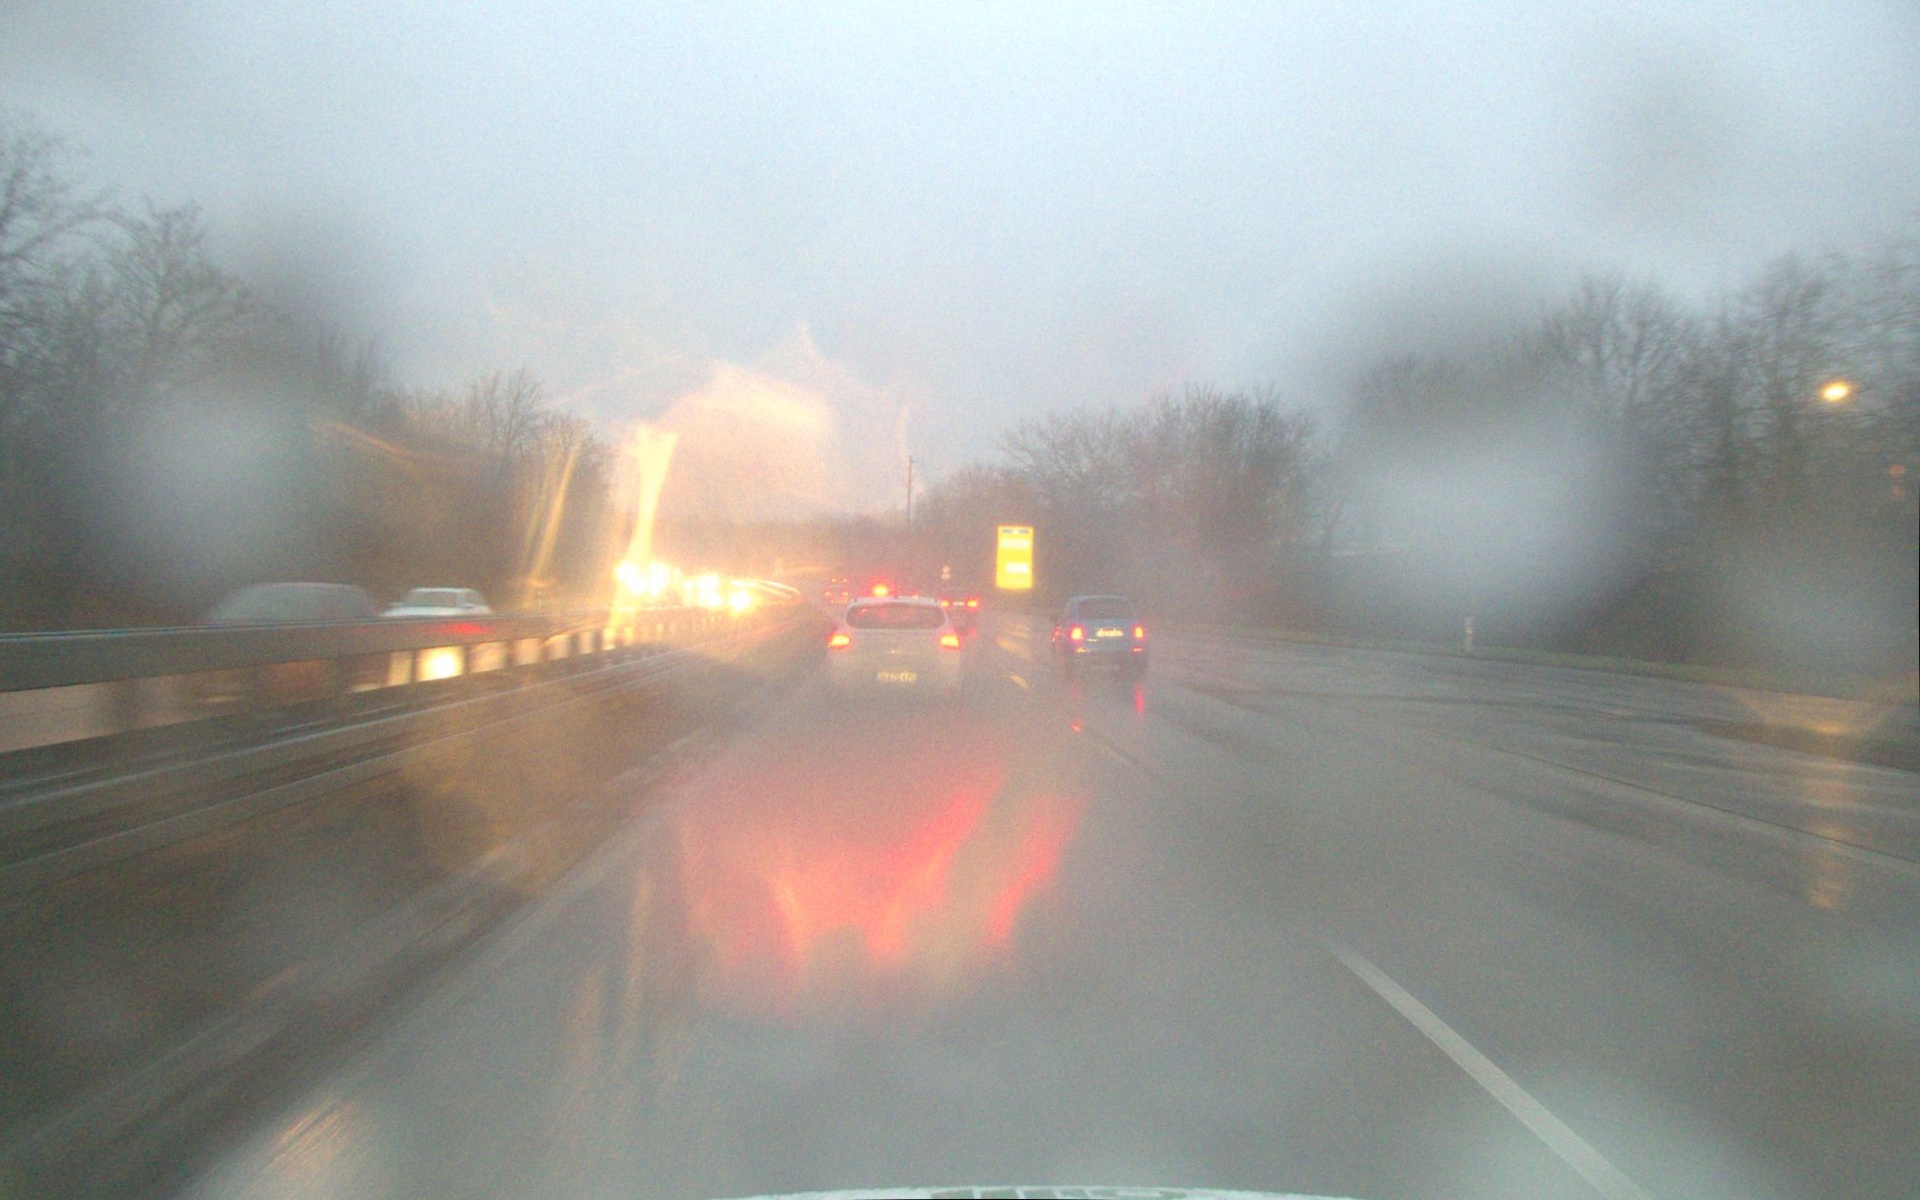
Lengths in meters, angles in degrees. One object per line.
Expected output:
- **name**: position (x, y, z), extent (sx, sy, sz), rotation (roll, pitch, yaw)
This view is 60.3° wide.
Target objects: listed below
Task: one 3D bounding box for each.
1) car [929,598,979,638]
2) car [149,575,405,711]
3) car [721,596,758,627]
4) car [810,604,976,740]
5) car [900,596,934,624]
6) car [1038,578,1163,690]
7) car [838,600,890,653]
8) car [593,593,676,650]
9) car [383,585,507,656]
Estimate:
- **car**: position (-0.279, 0.827, 73.831), extent (1.895, 1.573, 3.770), rotation (-5, -1, -4)
- **car**: position (-8.409, 0.492, 20.737), extent (1.702, 1.521, 3.841), rotation (1, 0, -2)
- **car**: position (-11.527, 0.602, 86.730), extent (1.621, 1.545, 3.502), rotation (1, 0, -3)
- **car**: position (-0.872, 0.874, 22.058), extent (1.984, 1.602, 3.998), rotation (1, 0, -2)
- **car**: position (-2.572, 0.560, 97.509), extent (1.894, 1.573, 3.771), rotation (1, 0, -3)
- **car**: position (2.722, 0.636, 32.901), extent (1.894, 2.055, 3.770), rotation (1, 0, -4)
- **car**: position (-3.888, 1.057, 67.380), extent (1.953, 2.049, 3.999), rotation (1, 0, -1)
- **car**: position (-9.093, 0.577, 46.497), extent (1.584, 1.510, 4.597), rotation (1, 0, -3)
- **car**: position (-12.480, 0.478, 40.354), extent (1.670, 1.593, 4.848), rotation (1, 0, -3)
